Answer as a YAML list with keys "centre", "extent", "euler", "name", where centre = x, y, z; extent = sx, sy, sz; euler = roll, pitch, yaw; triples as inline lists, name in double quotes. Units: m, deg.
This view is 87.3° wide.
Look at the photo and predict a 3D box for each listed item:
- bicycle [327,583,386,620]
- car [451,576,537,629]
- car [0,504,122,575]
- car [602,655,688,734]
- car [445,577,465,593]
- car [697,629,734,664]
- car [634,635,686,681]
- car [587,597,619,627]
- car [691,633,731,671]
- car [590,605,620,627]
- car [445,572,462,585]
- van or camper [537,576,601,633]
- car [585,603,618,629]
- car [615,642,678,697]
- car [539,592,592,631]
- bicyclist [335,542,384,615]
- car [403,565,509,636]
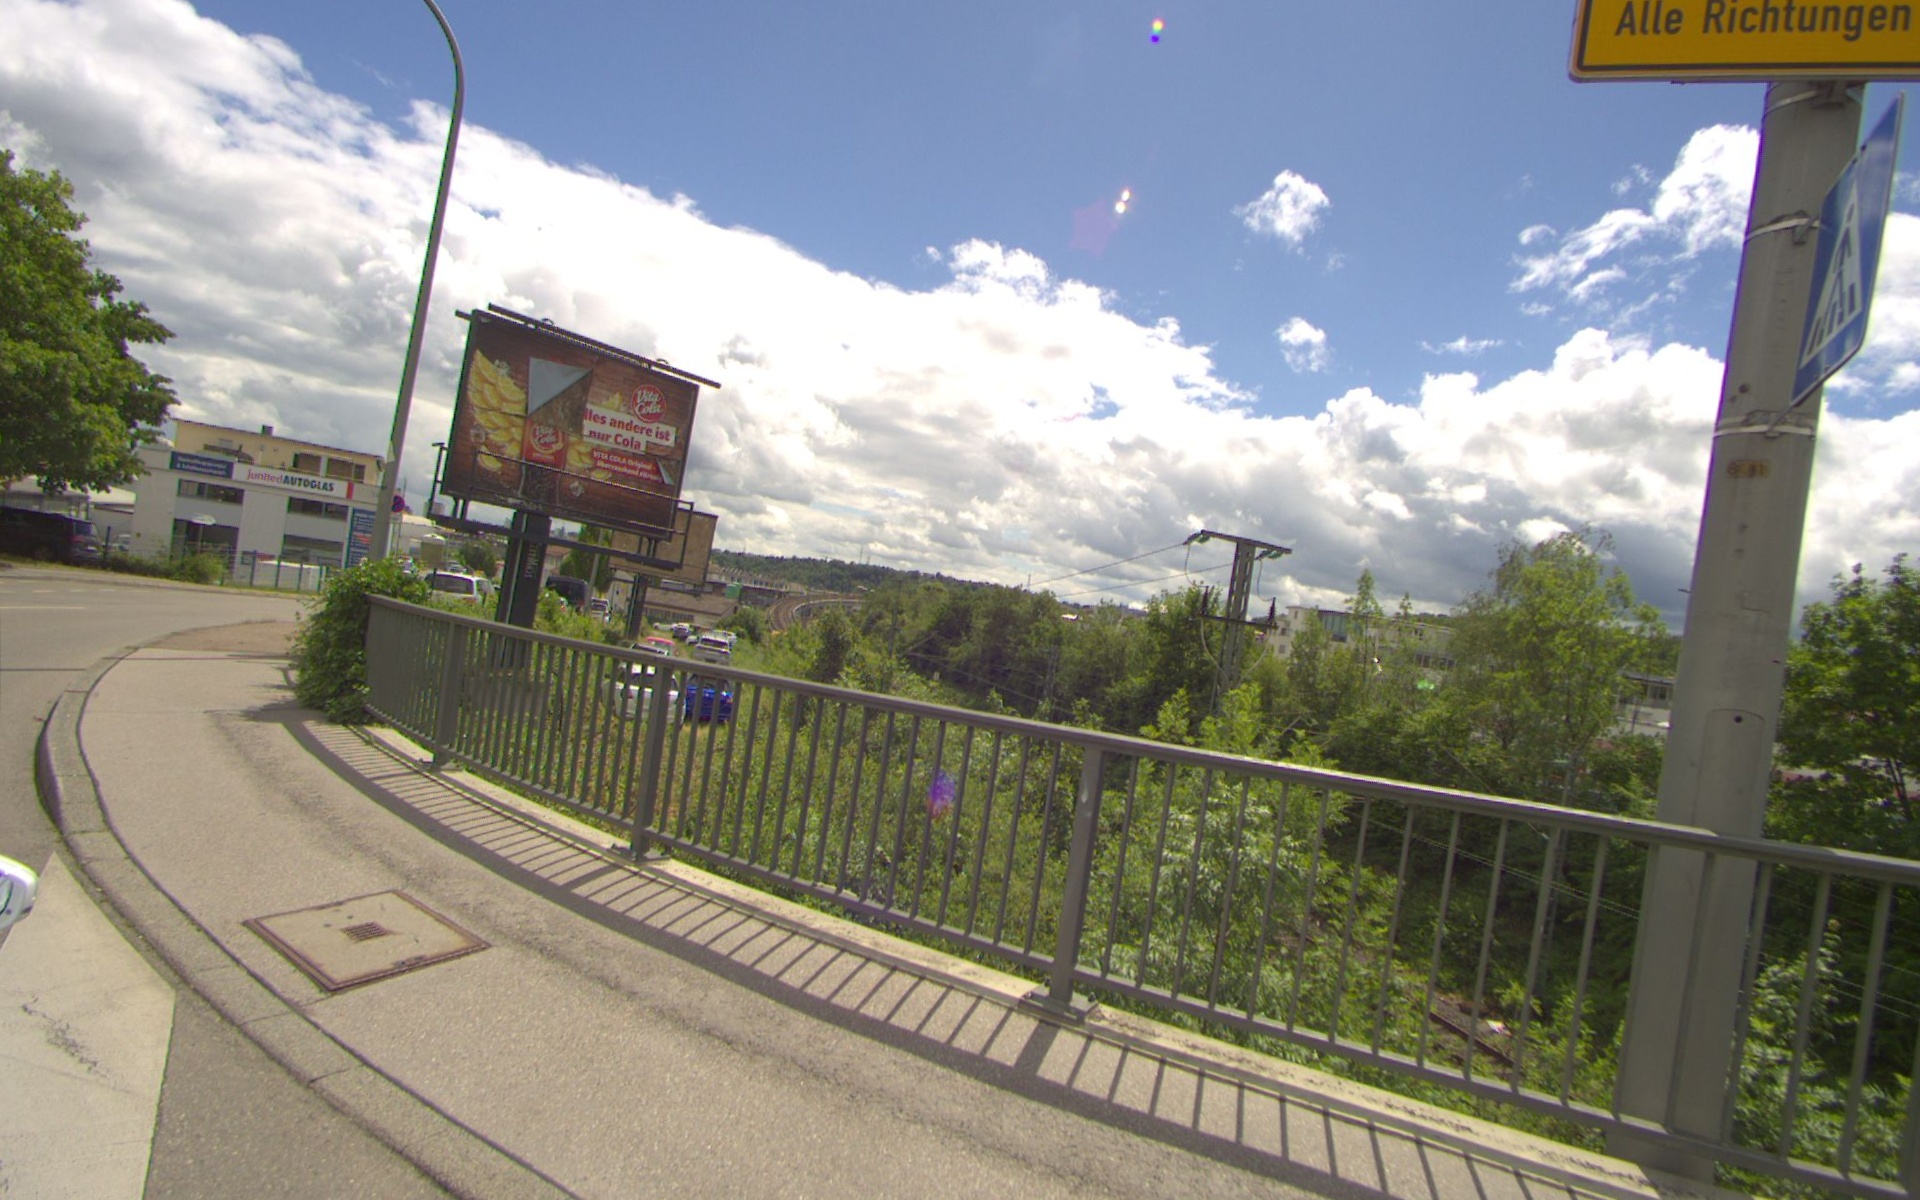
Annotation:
- centre: [-16.220, 0.062, 27.088]
  extent: [0.679, 0.888, 2.098]
  euler: [6, -3, -13]
  name: "bicycle"
- centre: [-16.105, 0.121, 35.009]
  extent: [1.685, 1.503, 4.563]
  euler: [9, -3, -14]
  name: "car"
- centre: [-31.163, -2.161, 33.319]
  extent: [4.643, 1.733, 1.997]
  euler: [10, -4, -15]
  name: "car"
- centre: [-7.949, 2.343, 25.649]
  extent: [1.685, 1.527, 3.501]
  euler: [9, -3, -14]
  name: "car"
- centre: [-52.120, -1.483, 103.860]
  extent: [1.655, 1.338, 3.699]
  euler: [8, -4, -25]
  name: "car"
- centre: [-13.337, 2.502, 54.817]
  extent: [1.685, 1.527, 3.688]
  euler: [9, -3, -14]
  name: "car"
- centre: [-12.366, 2.357, 41.633]
  extent: [1.685, 1.527, 3.688]
  euler: [9, -3, -14]
  name: "car"
- centre: [-28.843, 0.991, 81.317]
  extent: [1.971, 2.035, 4.905]
  euler: [8, -3, -17]
  name: "car"
- centre: [-12.439, 2.564, 50.243]
  extent: [1.685, 1.527, 4.520]
  euler: [9, -3, -14]
  name: "car"
- centre: [-26.376, 1.195, 74.854]
  extent: [1.881, 1.458, 3.533]
  euler: [6, -3, -18]
  name: "car"
- centre: [-60.278, -2.545, 119.737]
  extent: [1.656, 1.339, 3.695]
  euler: [7, -3, -27]
  name: "car"
- centre: [-20.508, 0.310, 53.052]
  extent: [2.098, 2.614, 5.906]
  euler: [7, -3, -14]
  name: "van or camper"
- centre: [-23.651, 1.065, 66.398]
  extent: [1.771, 1.523, 2.899]
  euler: [6, -3, -17]
  name: "car"
- centre: [-10.819, 2.368, 34.906]
  extent: [1.685, 1.527, 3.501]
  euler: [9, -3, -14]
  name: "car"
- centre: [-18.582, 0.540, 47.541]
  extent: [1.685, 1.527, 3.688]
  euler: [9, -3, -14]
  name: "car"
- centre: [-16.139, -0.569, 27.048]
  extent: [0.676, 1.847, 1.078]
  euler: [6, -2, -13]
  name: "bicyclist"
- centre: [-14.798, 0.057, 29.766]
  extent: [1.685, 1.696, 4.299]
  euler: [9, -3, -14]
  name: "car"
